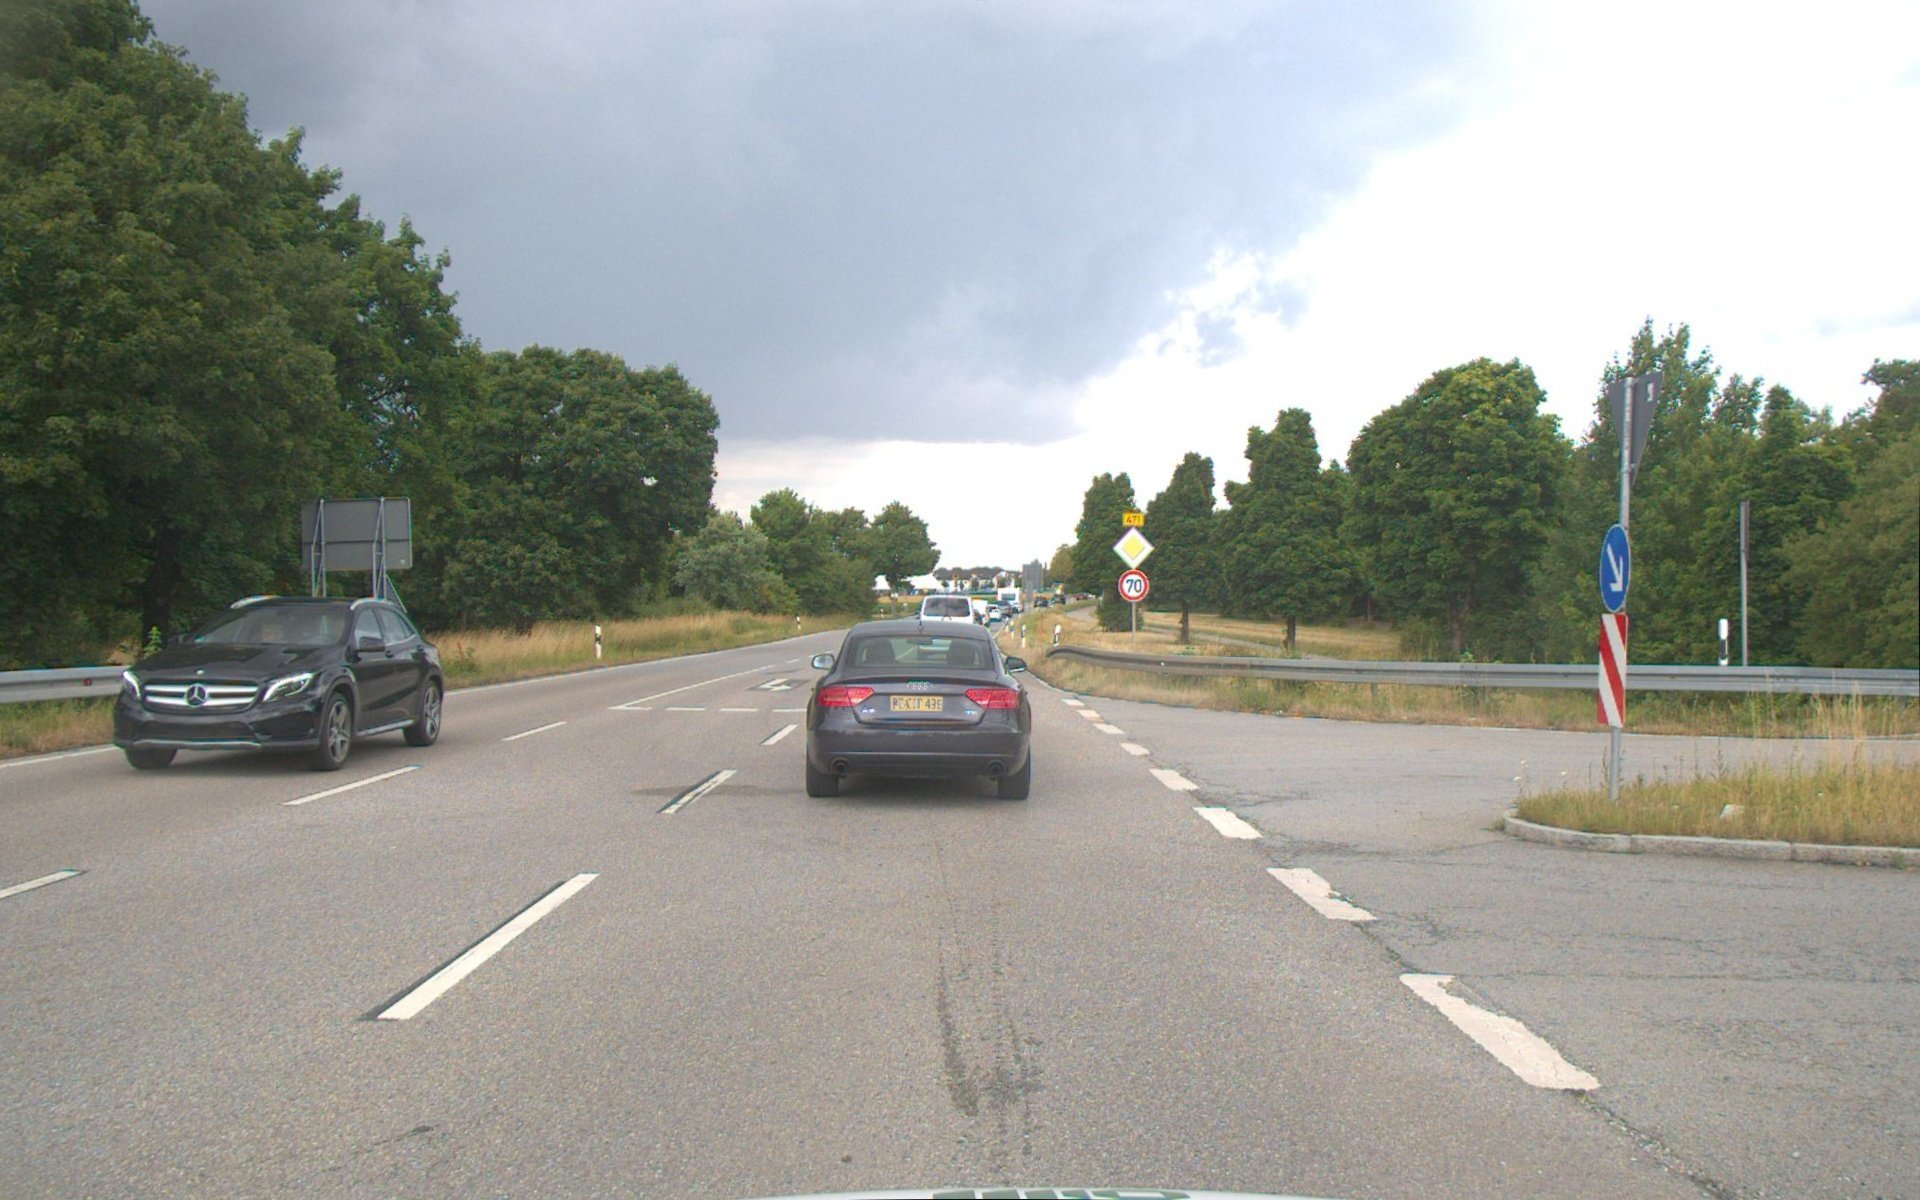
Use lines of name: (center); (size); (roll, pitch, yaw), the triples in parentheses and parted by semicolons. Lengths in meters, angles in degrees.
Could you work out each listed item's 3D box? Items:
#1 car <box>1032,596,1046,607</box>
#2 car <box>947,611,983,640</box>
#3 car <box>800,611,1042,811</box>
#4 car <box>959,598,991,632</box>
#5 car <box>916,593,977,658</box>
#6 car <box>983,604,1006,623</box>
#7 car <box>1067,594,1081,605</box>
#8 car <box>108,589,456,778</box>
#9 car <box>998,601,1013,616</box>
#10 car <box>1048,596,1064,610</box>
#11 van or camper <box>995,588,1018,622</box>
car: (10.249, 0.187, 215.338); (1.683, 1.477, 4.000); (1, 0, 0)
car: (0.296, 1.363, 89.587); (1.758, 1.490, 3.249); (0, 0, 3)
car: (-0.315, 0.825, 14.126); (1.746, 1.400, 3.999); (1, 0, -1)
car: (0.975, 0.973, 105.707); (1.952, 2.125, 4.001); (0, 0, 2)
car: (-0.437, 0.761, 51.951); (1.801, 1.915, 3.999); (1, 0, -1)
car: (2.894, 1.114, 138.863); (1.699, 1.541, 3.749); (0, 0, 5)
car: (16.400, -0.087, 237.747); (1.784, 1.624, 4.000); (1, 0, 0)
car: (-6.207, 0.696, 15.665); (1.676, 1.549, 3.999); (0, 0, -1)
car: (4.244, 0.763, 154.829); (1.231, 1.377, 3.468); (0, 0, 5)
car: (13.975, 0.467, 240.771); (1.953, 2.049, 3.999); (0, 0, -1)
van or camper: (4.877, 0.533, 173.446); (2.292, 3.542, 5.719); (0, 0, 1)
